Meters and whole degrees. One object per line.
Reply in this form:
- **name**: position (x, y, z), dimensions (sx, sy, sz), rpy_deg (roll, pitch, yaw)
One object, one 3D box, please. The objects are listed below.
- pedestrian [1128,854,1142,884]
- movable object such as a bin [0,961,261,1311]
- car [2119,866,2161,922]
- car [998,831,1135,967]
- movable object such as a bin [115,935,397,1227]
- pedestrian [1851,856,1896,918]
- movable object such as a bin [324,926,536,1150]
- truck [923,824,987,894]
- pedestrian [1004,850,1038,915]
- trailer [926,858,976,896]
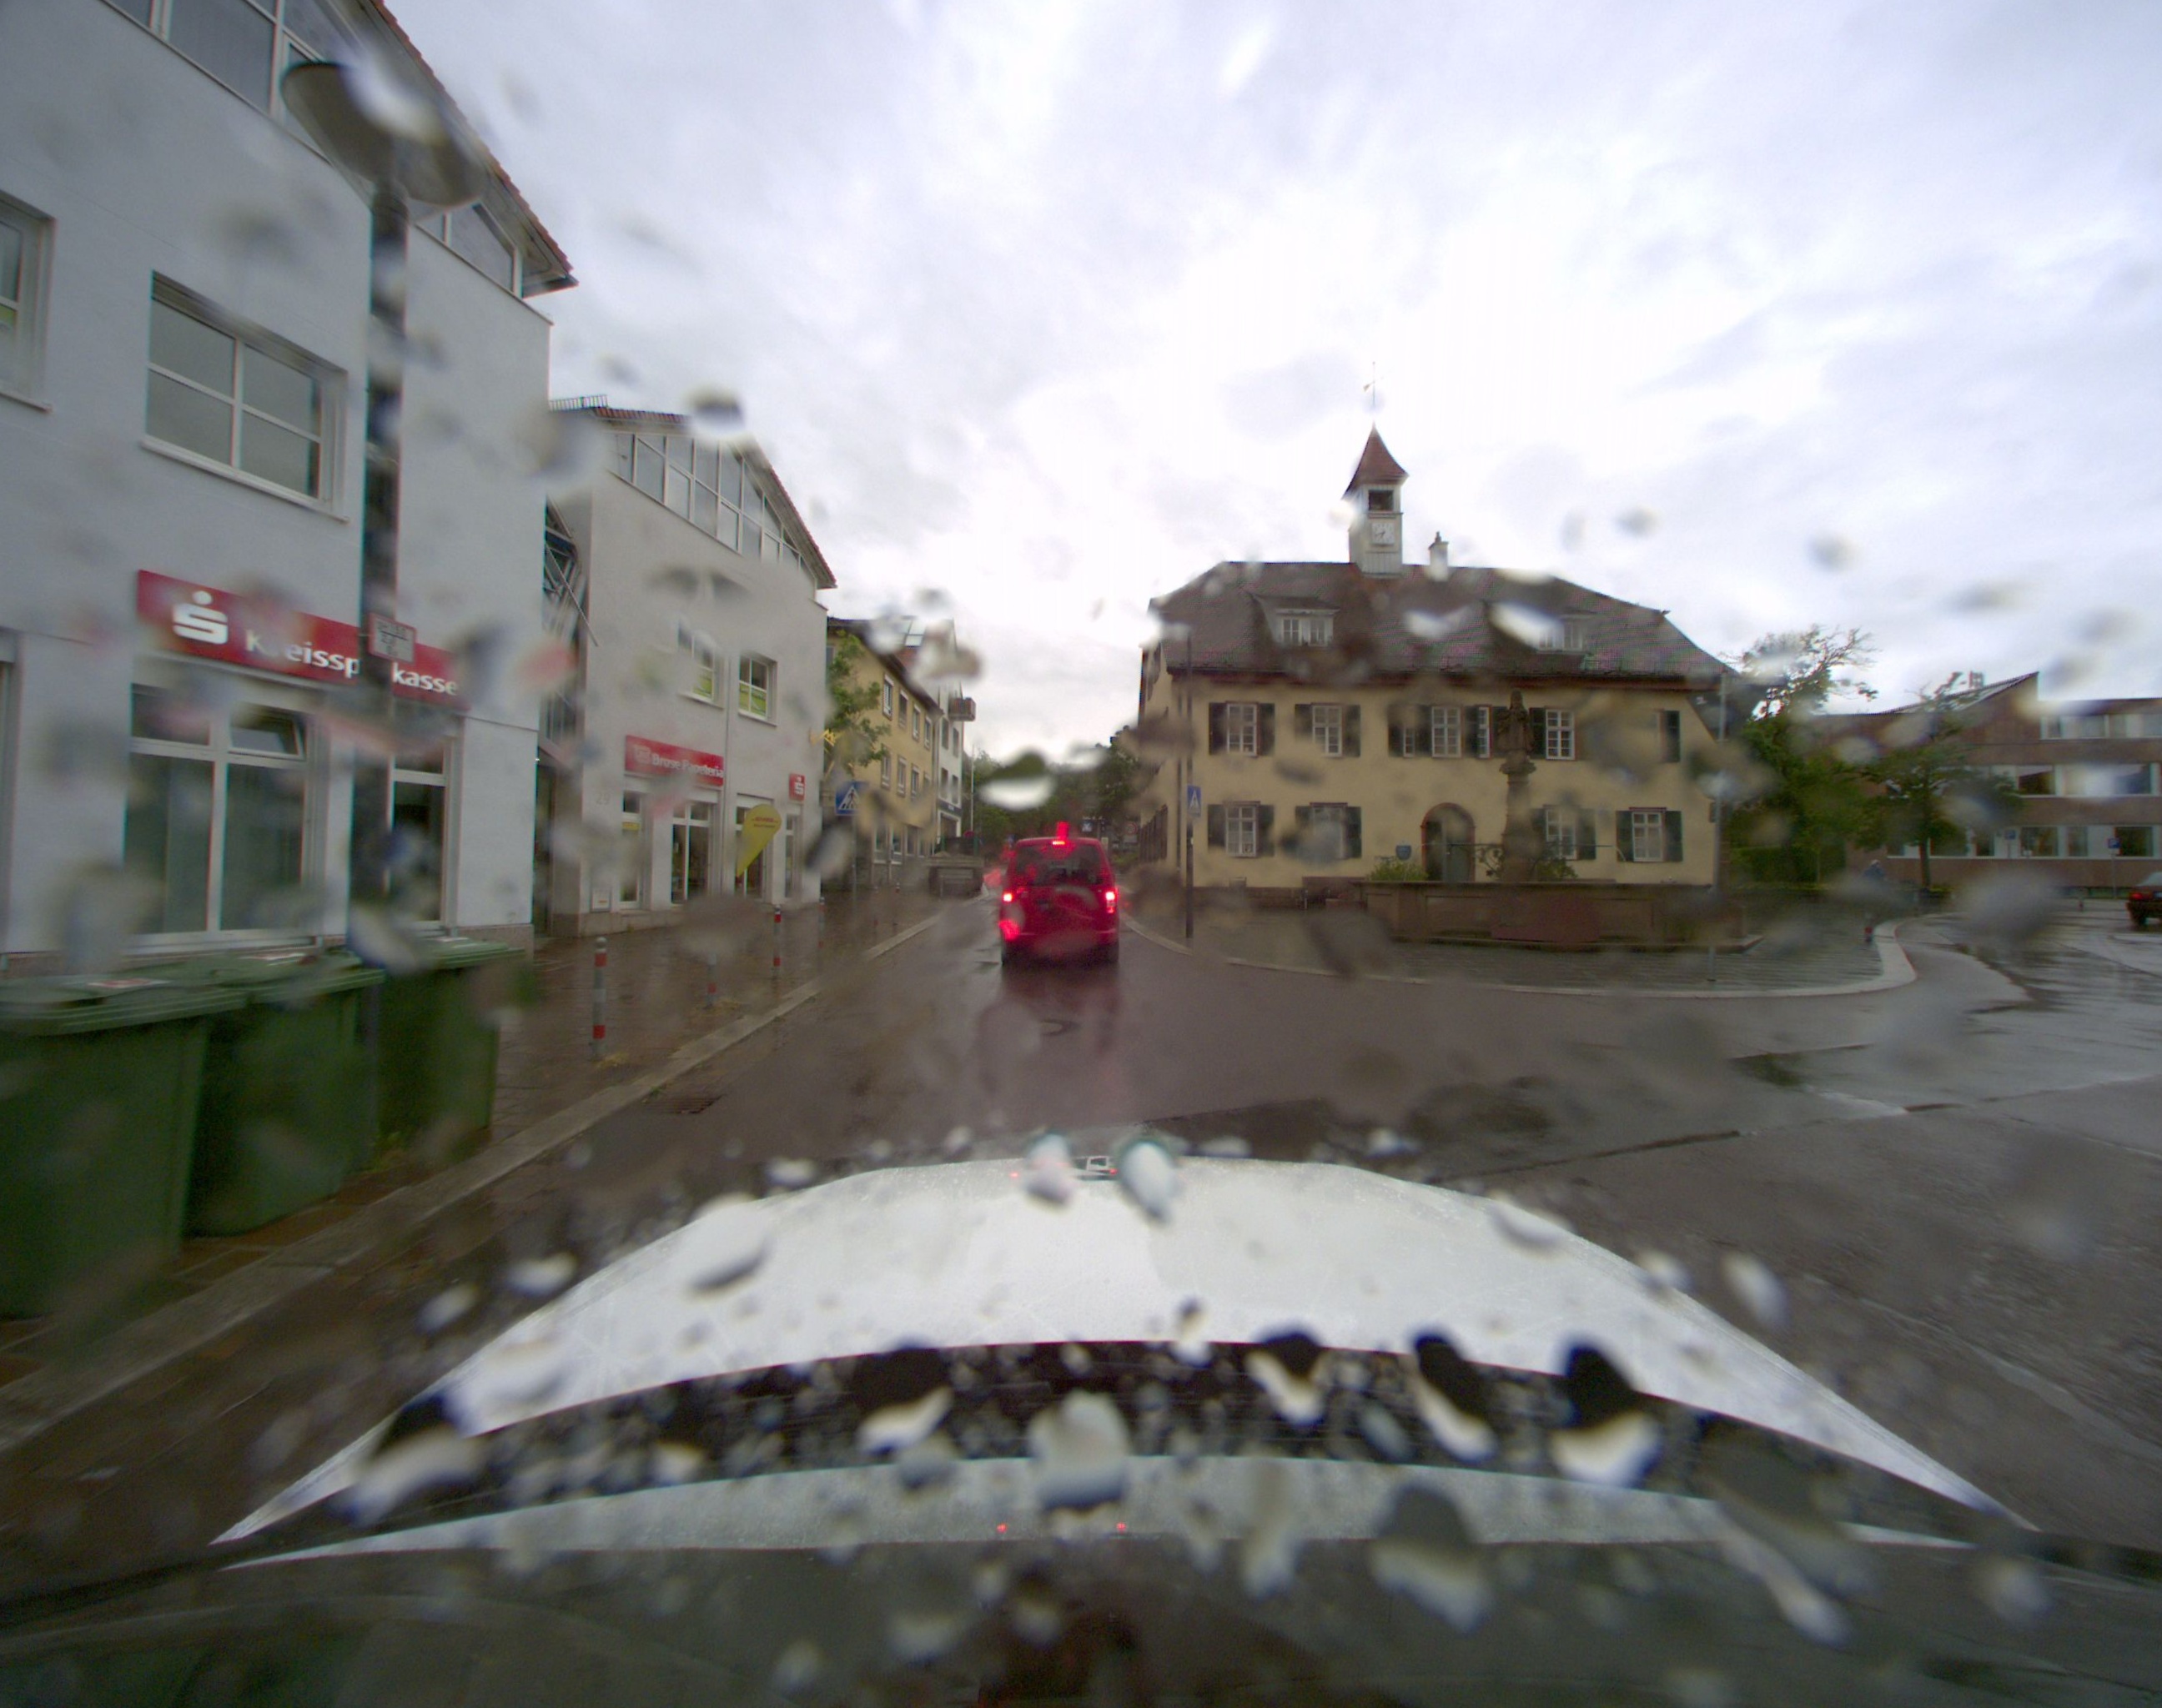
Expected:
- **pedestrian**: position (2.913, 0.813, 43.825), dimensions (0.725, 1.617, 0.694), rpy_deg (0, -1, 1)
- **movable object such as a bin**: position (-3.606, 0.966, 2.972), dimensions (0.655, 1.082, 0.553), rpy_deg (0, -1, 3)
- **car**: position (28.542, 0.998, 20.863), dimensions (3.613, 1.363, 1.658), rpy_deg (0, -1, -26)
- **car**: position (-0.352, 0.634, 13.260), dimensions (1.859, 1.830, 4.178), rpy_deg (-1, -1, -5)
- **movable object such as a bin**: position (-3.549, 0.936, 3.551), dimensions (0.655, 1.115, 0.553), rpy_deg (0, -1, 3)
- **pedestrian**: position (23.846, 0.966, 24.511), dimensions (0.688, 1.822, 0.785), rpy_deg (0, -1, -28)
- **movable object such as a bin**: position (-3.543, 0.972, 4.484), dimensions (0.656, 1.096, 0.613), rpy_deg (0, -1, 1)
- **truck**: position (-5.466, 0.160, 36.311), dimensions (2.470, 2.795, 6.586), rpy_deg (0, 1, -6)
- **pedestrian**: position (-1.582, 0.734, 21.524), dimensions (0.863, 1.693, 0.715), rpy_deg (0, 0, -5)
- **trailer**: position (-4.986, 0.845, 31.472), dimensions (1.726, 1.346, 3.154), rpy_deg (0, 1, -6)
